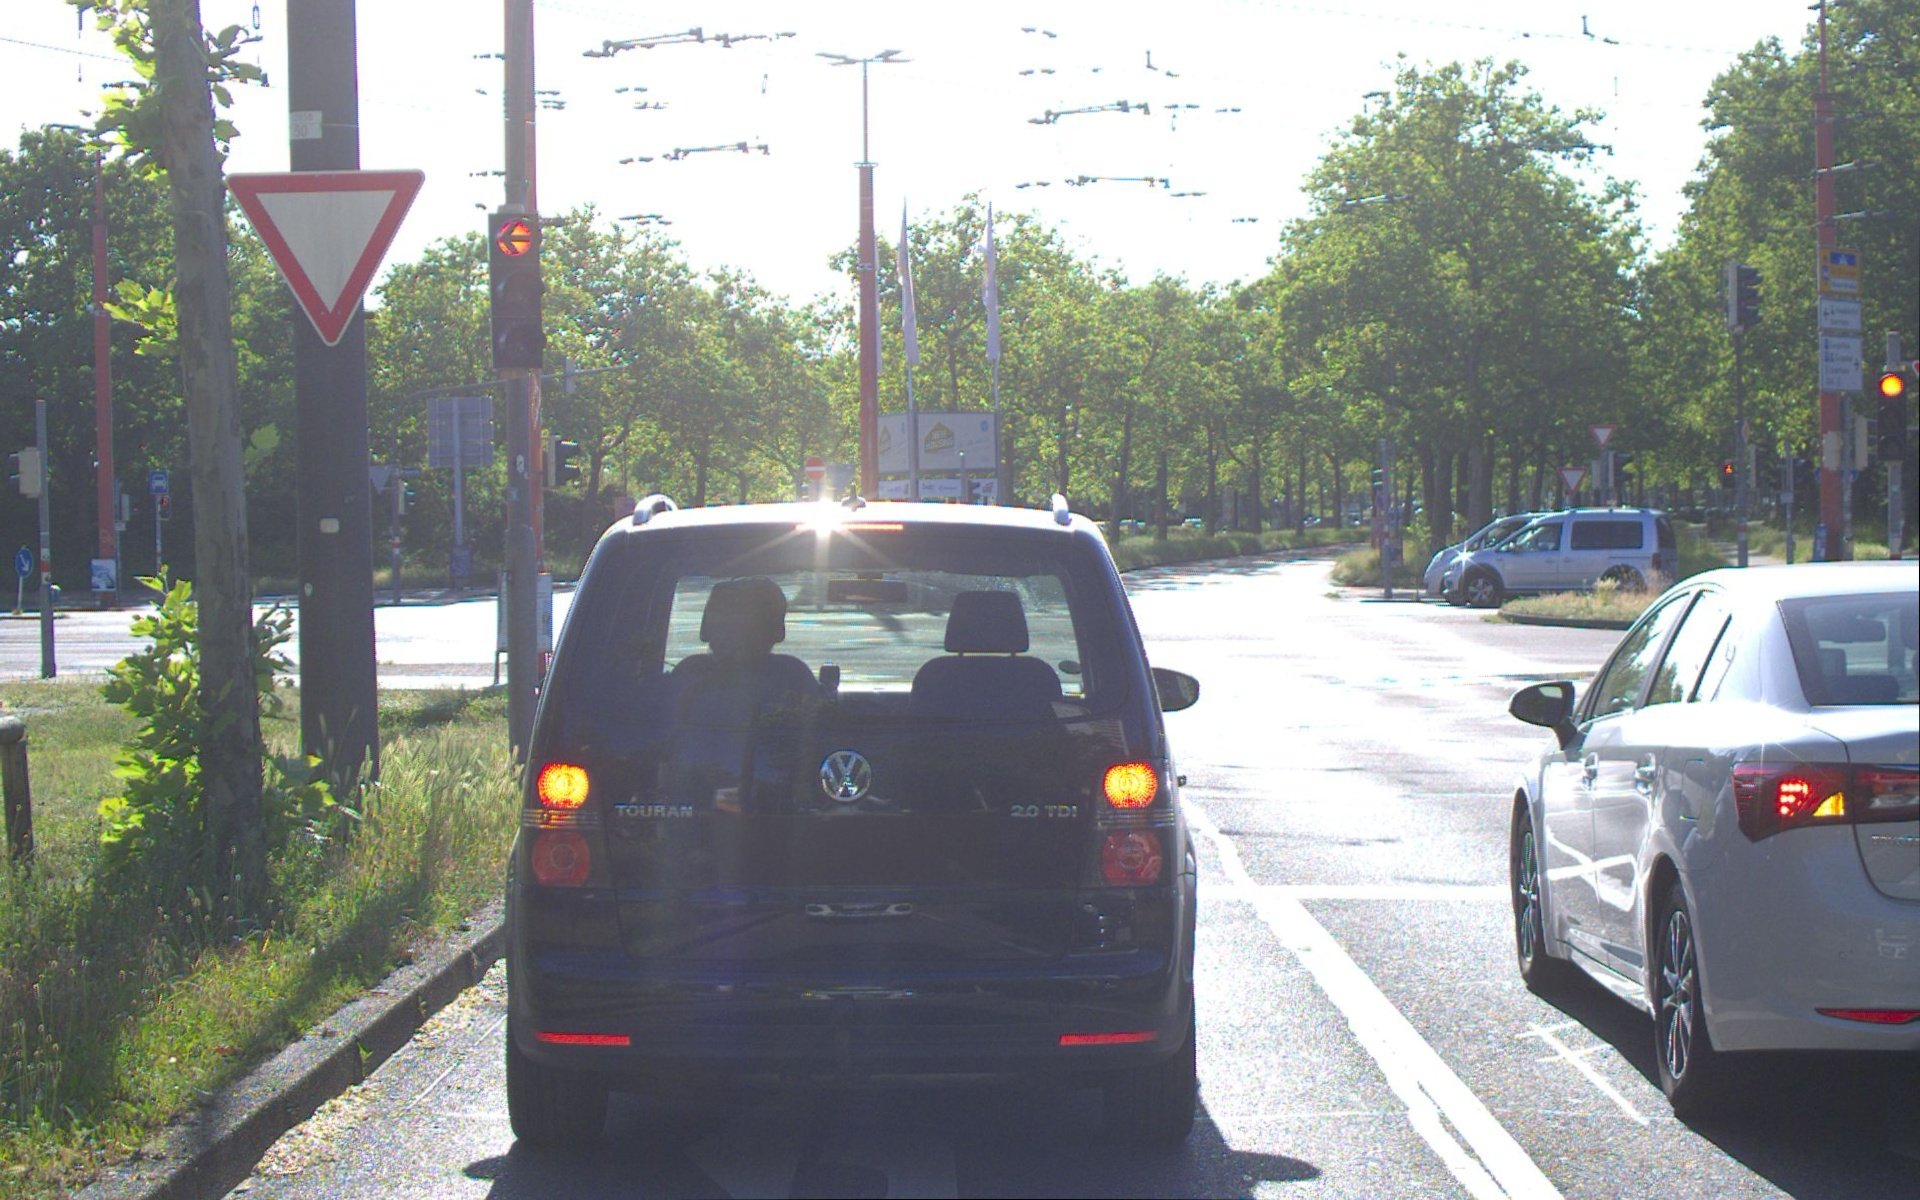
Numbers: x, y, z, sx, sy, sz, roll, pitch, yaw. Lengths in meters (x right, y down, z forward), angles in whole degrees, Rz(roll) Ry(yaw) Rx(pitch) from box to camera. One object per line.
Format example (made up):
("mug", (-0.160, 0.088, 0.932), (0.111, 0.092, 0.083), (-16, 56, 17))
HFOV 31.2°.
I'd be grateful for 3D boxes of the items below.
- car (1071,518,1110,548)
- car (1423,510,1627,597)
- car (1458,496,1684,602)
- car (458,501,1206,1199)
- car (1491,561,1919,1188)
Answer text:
("car", (7.385, -3.795, 194.295), (1.915, 1.630, 3.999), (1, 1, 7))
("car", (11.203, -0.921, 68.193), (3.647, 1.650, 1.678), (1, 1, 25))
("car", (11.432, -0.952, 64.297), (3.837, 1.883, 1.762), (1, 1, 23))
("car", (-0.321, 0.561, 9.817), (1.700, 1.616, 3.897), (0, 1, -1))
("car", (2.717, 0.623, 10.100), (1.720, 1.433, 4.198), (1, 1, 1))
